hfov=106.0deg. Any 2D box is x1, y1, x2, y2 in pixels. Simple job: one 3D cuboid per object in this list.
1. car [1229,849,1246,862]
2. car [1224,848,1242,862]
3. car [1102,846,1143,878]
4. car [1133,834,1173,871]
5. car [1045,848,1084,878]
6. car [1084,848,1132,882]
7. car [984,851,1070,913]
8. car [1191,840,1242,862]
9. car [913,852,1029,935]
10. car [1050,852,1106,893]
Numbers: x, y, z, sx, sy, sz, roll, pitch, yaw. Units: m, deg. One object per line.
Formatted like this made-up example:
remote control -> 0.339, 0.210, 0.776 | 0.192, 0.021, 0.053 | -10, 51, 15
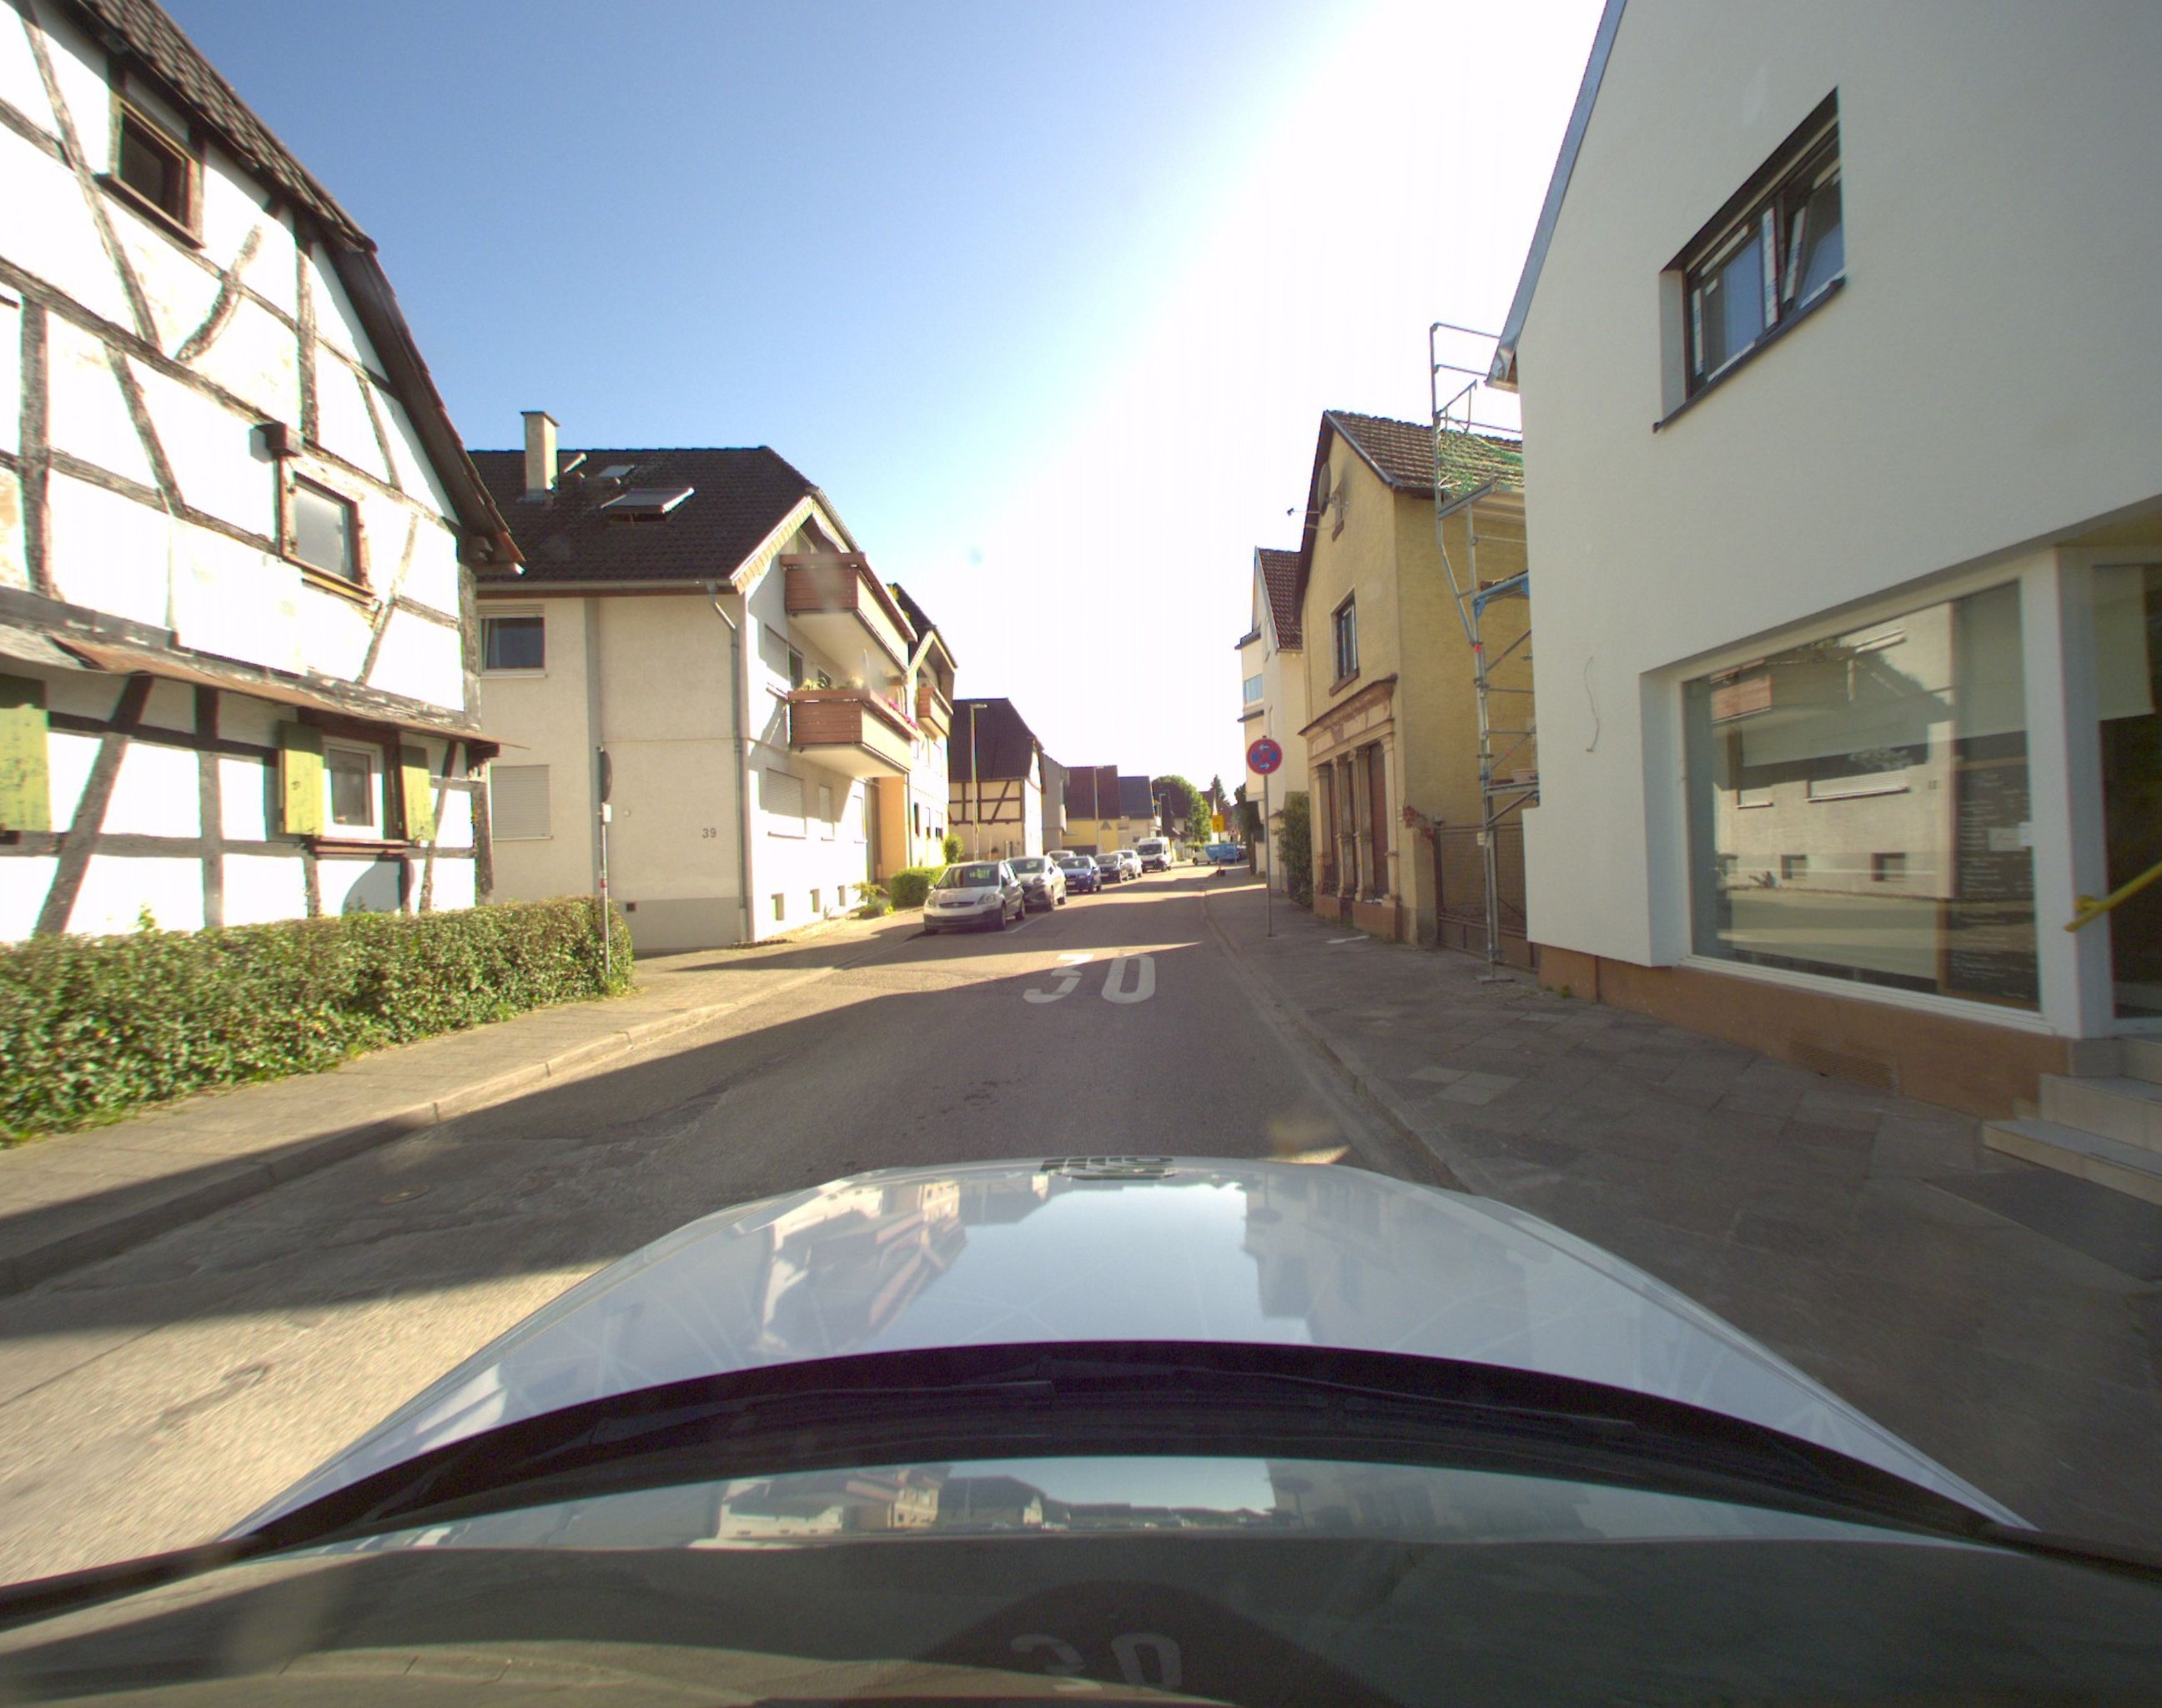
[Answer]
car -> 17.974, 0.233, 93.520 | 1.833, 1.413, 4.010 | -1, -1, 9
car -> 16.386, 0.119, 88.103 | 1.833, 1.413, 4.010 | -1, -1, 9
car -> 2.395, 0.427, 45.755 | 1.663, 1.572, 3.977 | -4, 0, 10
car -> 5.230, -0.139, 58.675 | 2.063, 2.394, 5.226 | -4, 0, 12
car -> -0.878, 0.467, 45.945 | 1.713, 1.596, 4.023 | -1, 1, 6
car -> 1.440, 0.519, 41.582 | 1.692, 1.518, 4.135 | -4, 0, 11
car -> -1.431, 0.724, 23.256 | 1.665, 1.506, 4.102 | -4, 0, 6
car -> 12.567, -0.262, 75.842 | 1.933, 1.801, 4.733 | -5, 1, -30
car -> -2.316, 0.783, 18.119 | 1.623, 1.505, 3.859 | -4, 0, 5
car -> -0.055, 0.678, 32.053 | 1.630, 1.441, 4.083 | -3, 0, 7
